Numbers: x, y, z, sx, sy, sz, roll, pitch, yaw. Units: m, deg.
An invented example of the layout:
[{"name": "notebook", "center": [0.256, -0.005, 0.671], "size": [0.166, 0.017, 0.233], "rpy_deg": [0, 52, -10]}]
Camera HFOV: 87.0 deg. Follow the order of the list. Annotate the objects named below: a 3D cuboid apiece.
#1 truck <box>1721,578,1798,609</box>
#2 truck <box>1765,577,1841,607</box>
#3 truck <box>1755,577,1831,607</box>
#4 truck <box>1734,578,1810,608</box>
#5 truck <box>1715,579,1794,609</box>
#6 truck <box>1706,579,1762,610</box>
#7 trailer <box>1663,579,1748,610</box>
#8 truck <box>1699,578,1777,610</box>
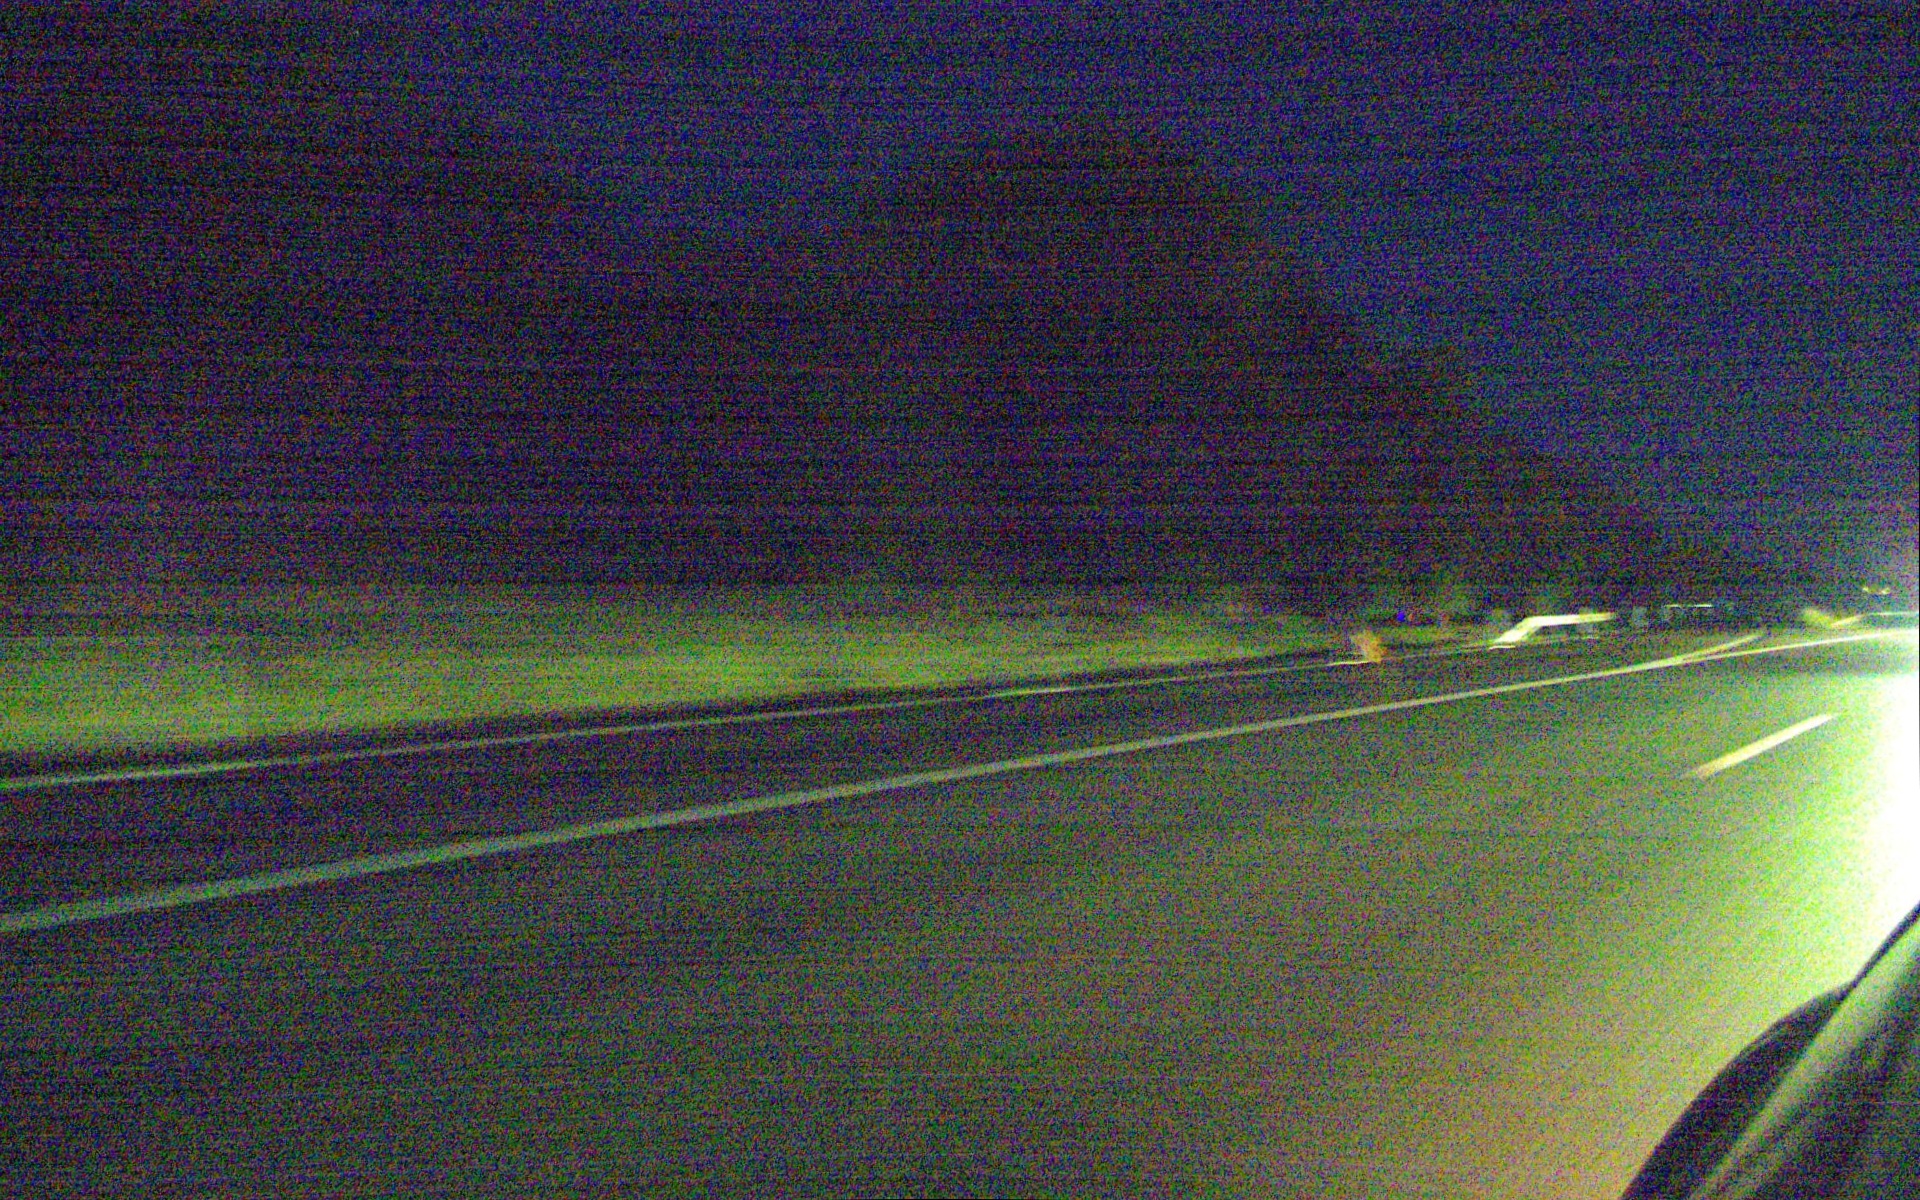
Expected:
[{"name": "truck", "center": [107.748, -0.881, 136.640], "size": [3.005, 3.975, 9.653], "rpy_deg": [-1, 0, 3]}, {"name": "truck", "center": [119.071, -1.062, 143.186], "size": [3.005, 3.975, 9.653], "rpy_deg": [-1, 0, 3]}, {"name": "truck", "center": [115.648, -1.008, 140.782], "size": [2.906, 3.975, 9.653], "rpy_deg": [-1, 0, 3]}, {"name": "truck", "center": [112.071, -0.949, 139.864], "size": [3.005, 3.975, 9.653], "rpy_deg": [-1, 0, 3]}, {"name": "truck", "center": [103.761, -0.701, 132.368], "size": [3.005, 3.735, 9.654], "rpy_deg": [-1, 0, 3]}, {"name": "truck", "center": [95.463, -0.643, 124.949], "size": [2.489, 3.695, 6.200], "rpy_deg": [-1, 0, 6]}, {"name": "trailer", "center": [96.027, -0.687, 130.726], "size": [2.498, 3.711, 12.977], "rpy_deg": [-1, 0, 5]}, {"name": "truck", "center": [99.687, -0.756, 129.935], "size": [3.005, 3.975, 9.653], "rpy_deg": [-1, 0, 3]}]
